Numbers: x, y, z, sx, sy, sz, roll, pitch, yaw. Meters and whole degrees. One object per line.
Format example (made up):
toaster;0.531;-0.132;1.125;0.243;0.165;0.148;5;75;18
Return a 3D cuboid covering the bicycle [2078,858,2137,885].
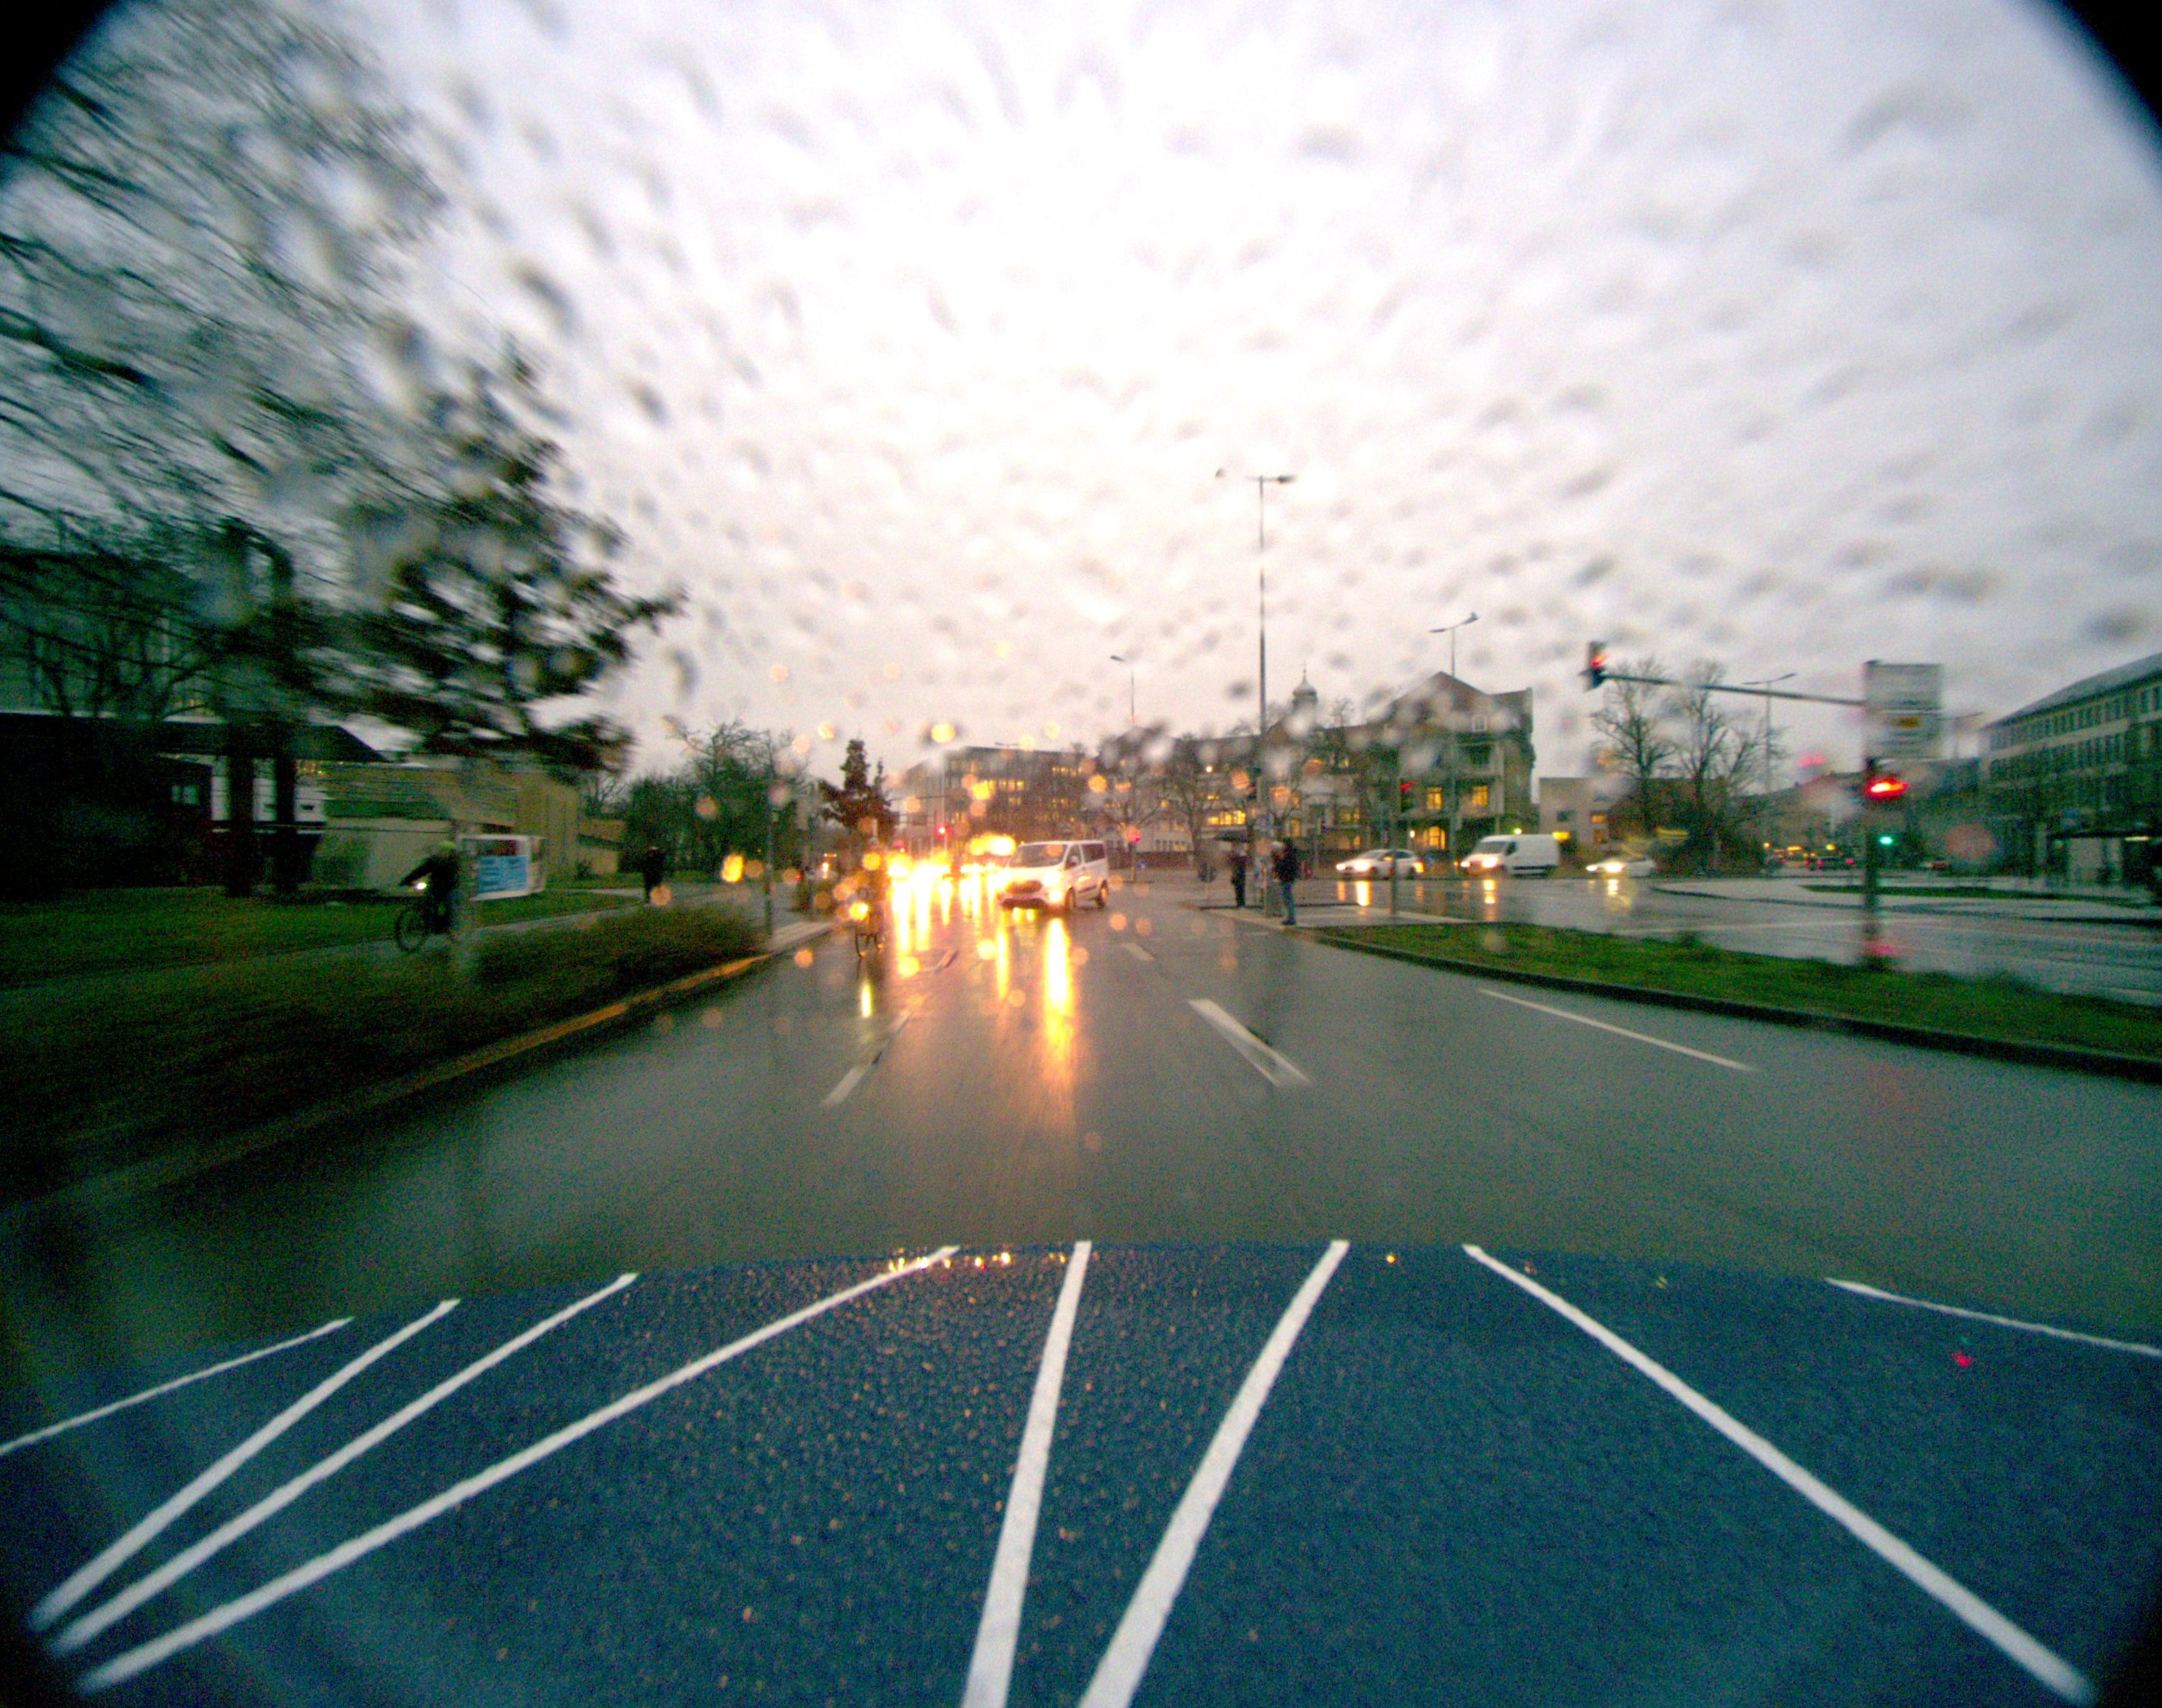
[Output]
bicycle;44.192;0.773;32.752;0.645;1.097;2.757;-2;-3;36

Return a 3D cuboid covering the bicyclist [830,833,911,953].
bicyclist;-3.470;0.615;12.637;1.027;1.872;1.235;-2;1;-5

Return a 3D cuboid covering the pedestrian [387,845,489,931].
pedestrian;-10.111;0.512;11.986;0.877;1.309;0.848;0;1;-5

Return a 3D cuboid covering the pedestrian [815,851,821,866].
pedestrian;-35.445;0.577;102.466;0.767;2.002;0.771;0;1;-21

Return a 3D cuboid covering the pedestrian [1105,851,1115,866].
pedestrian;3.529;0.531;91.993;0.809;1.820;0.946;0;1;-23

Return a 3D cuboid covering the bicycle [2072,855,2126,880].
bicycle;47.371;0.645;35.400;0.645;1.097;2.757;-2;-3;35

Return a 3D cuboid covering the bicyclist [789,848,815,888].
bicyclist;-11.792;0.593;32.164;0.806;1.608;1.085;3;0;-10

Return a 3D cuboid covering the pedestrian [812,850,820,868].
pedestrian;-29.878;0.601;85.586;0.767;2.002;0.909;0;1;-21

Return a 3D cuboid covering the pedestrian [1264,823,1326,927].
pedestrian;4.296;0.426;15.328;0.848;1.993;1.109;-1;-2;-3

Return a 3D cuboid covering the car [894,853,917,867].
car;-20.253;0.692;87.730;2.002;1.558;4.753;1;0;-20

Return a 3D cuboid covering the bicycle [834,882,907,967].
bicycle;-3.478;1.132;12.746;0.794;1.215;1.903;-2;0;-5

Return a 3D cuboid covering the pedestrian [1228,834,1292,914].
pedestrian;4.321;0.486;18.369;1.037;1.846;1.068;0;-2;-35

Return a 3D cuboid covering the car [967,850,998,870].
car;-9.383;0.593;72.051;2.002;1.739;4.462;3;0;-20

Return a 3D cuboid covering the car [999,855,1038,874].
car;-4.854;0.788;58.719;1.934;1.368;4.490;0;0;-20

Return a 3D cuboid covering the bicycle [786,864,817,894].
bicycle;-11.788;1.036;32.099;0.806;1.135;2.211;3;0;-10

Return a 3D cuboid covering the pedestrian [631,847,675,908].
pedestrian;-12.195;0.672;21.698;0.913;1.677;0.926;1;-2;-20

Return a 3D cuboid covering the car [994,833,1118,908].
car;-0.563;0.526;22.078;2.134;1.909;5.025;-1;-2;16

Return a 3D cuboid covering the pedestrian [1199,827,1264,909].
pedestrian;3.845;0.370;19.455;1.217;2.037;1.033;0;-2;-35

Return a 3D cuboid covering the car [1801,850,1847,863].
car;99.559;0.286;101.880;3.992;1.739;1.975;0;0;16

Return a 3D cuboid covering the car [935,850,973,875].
car;-9.724;0.612;57.961;2.002;1.739;4.937;0;0;-20

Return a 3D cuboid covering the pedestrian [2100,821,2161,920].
pedestrian;20.707;0.300;14.444;1.231;1.846;1.038;-2;-2;31

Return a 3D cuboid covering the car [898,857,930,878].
car;-12.417;0.964;56.462;1.776;1.478;4.462;0;0;-20

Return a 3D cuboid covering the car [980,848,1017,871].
car;-7.250;0.472;66.265;2.003;1.739;4.462;7;-2;-20

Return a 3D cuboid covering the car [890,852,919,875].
car;-14.601;0.778;62.687;2.002;1.827;3.994;0;0;-18

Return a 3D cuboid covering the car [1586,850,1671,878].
car;32.794;0.570;45.515;4.822;1.634;1.835;0;1;-23

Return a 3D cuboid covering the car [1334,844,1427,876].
car;14.911;0.315;37.817;4.322;1.494;1.753;0;-2;-23

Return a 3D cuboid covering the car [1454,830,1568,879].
car;23.683;0.042;41.818;5.875;2.502;2.344;0;-2;-24

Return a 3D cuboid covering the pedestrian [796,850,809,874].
pedestrian;-20.932;0.616;57.164;0.934;1.815;0.832;0;1;-20

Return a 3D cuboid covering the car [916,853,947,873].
car;-13.286;0.779;67.293;2.002;1.739;4.462;0;0;-20

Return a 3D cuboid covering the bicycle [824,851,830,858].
bicycle;-36.078;0.123;108.083;0.795;1.009;2.898;0;0;-19

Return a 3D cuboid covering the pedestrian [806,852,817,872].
pedestrian;-25.350;0.737;71.439;0.934;1.815;0.832;0;1;-20

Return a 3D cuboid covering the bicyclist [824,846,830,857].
bicyclist;-36.088;-0.371;108.115;0.768;1.481;0.992;0;1;-19

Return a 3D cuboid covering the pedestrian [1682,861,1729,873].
pedestrian;54.959;1.155;66.895;3.091;0.924;0.951;-3;-3;37

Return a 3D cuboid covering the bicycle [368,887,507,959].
bicycle;-10.201;1.051;12.153;0.563;0.941;2.094;0;1;-4
